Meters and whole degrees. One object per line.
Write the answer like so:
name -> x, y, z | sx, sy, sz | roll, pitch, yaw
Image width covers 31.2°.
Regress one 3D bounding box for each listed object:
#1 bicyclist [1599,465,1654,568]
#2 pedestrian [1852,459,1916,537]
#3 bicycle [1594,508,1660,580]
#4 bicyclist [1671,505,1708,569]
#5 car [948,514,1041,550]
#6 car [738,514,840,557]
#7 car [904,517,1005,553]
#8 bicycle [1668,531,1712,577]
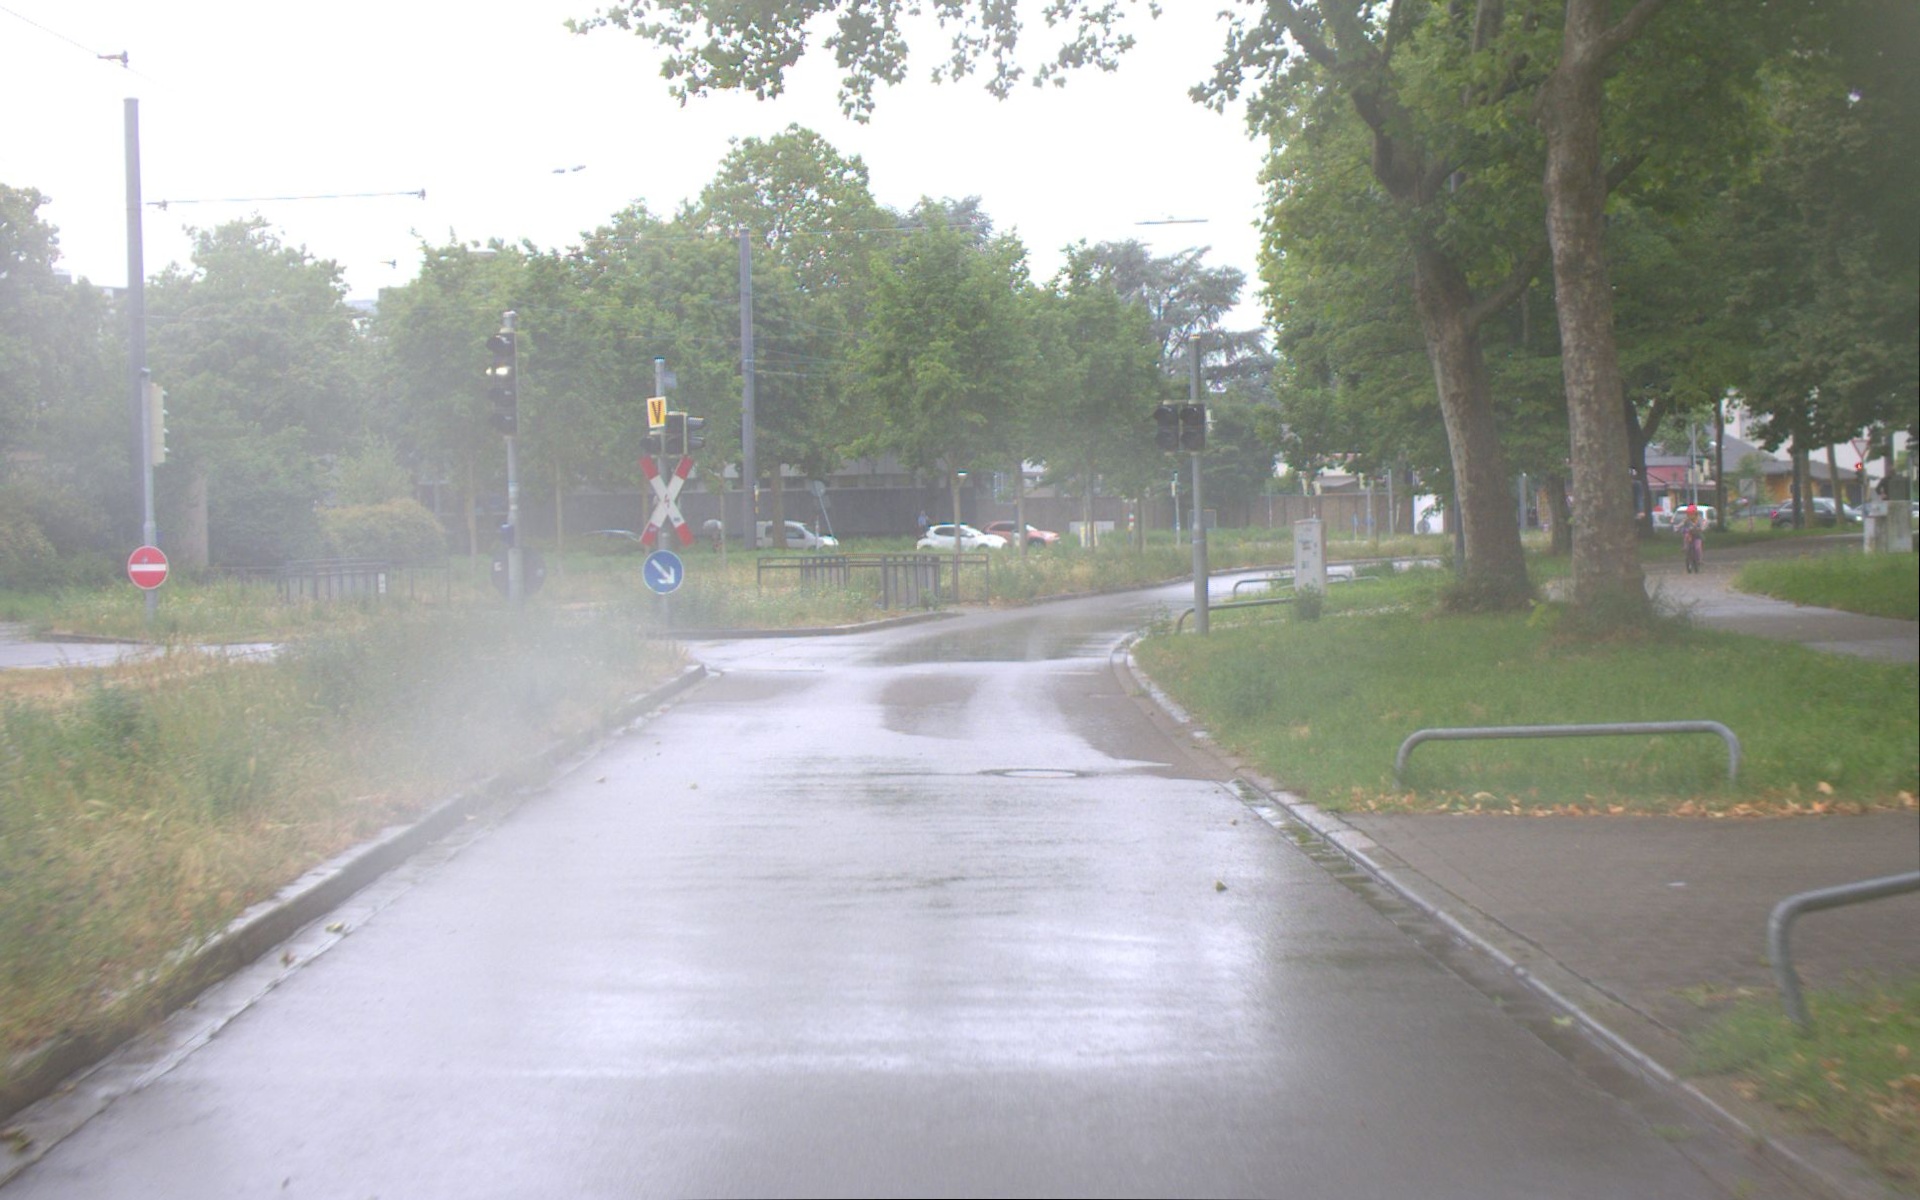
bicyclist -> 11.222, -1.410, 57.854 | 0.712, 1.715, 0.956 | 0, 2, 22
pedestrian -> 20.258, -2.228, 75.381 | 0.851, 1.689, 1.035 | -2, 1, -25
bicycle -> 11.233, -0.950, 57.872 | 0.712, 1.138, 1.970 | 0, 2, 22
bicyclist -> 12.173, -1.051, 57.364 | 0.487, 1.034, 0.591 | -1, 3, 21
car -> 1.548, -3.033, 153.947 | 3.821, 1.494, 1.651 | -1, 1, 16
car -> -7.613, -2.890, 153.206 | 4.213, 1.790, 1.651 | -1, 2, 18
car -> -0.232, -2.848, 150.700 | 4.068, 1.494, 1.651 | -1, 1, 16
bicycle -> 12.192, -0.770, 57.403 | 0.487, 0.706, 1.456 | -1, 3, 21
